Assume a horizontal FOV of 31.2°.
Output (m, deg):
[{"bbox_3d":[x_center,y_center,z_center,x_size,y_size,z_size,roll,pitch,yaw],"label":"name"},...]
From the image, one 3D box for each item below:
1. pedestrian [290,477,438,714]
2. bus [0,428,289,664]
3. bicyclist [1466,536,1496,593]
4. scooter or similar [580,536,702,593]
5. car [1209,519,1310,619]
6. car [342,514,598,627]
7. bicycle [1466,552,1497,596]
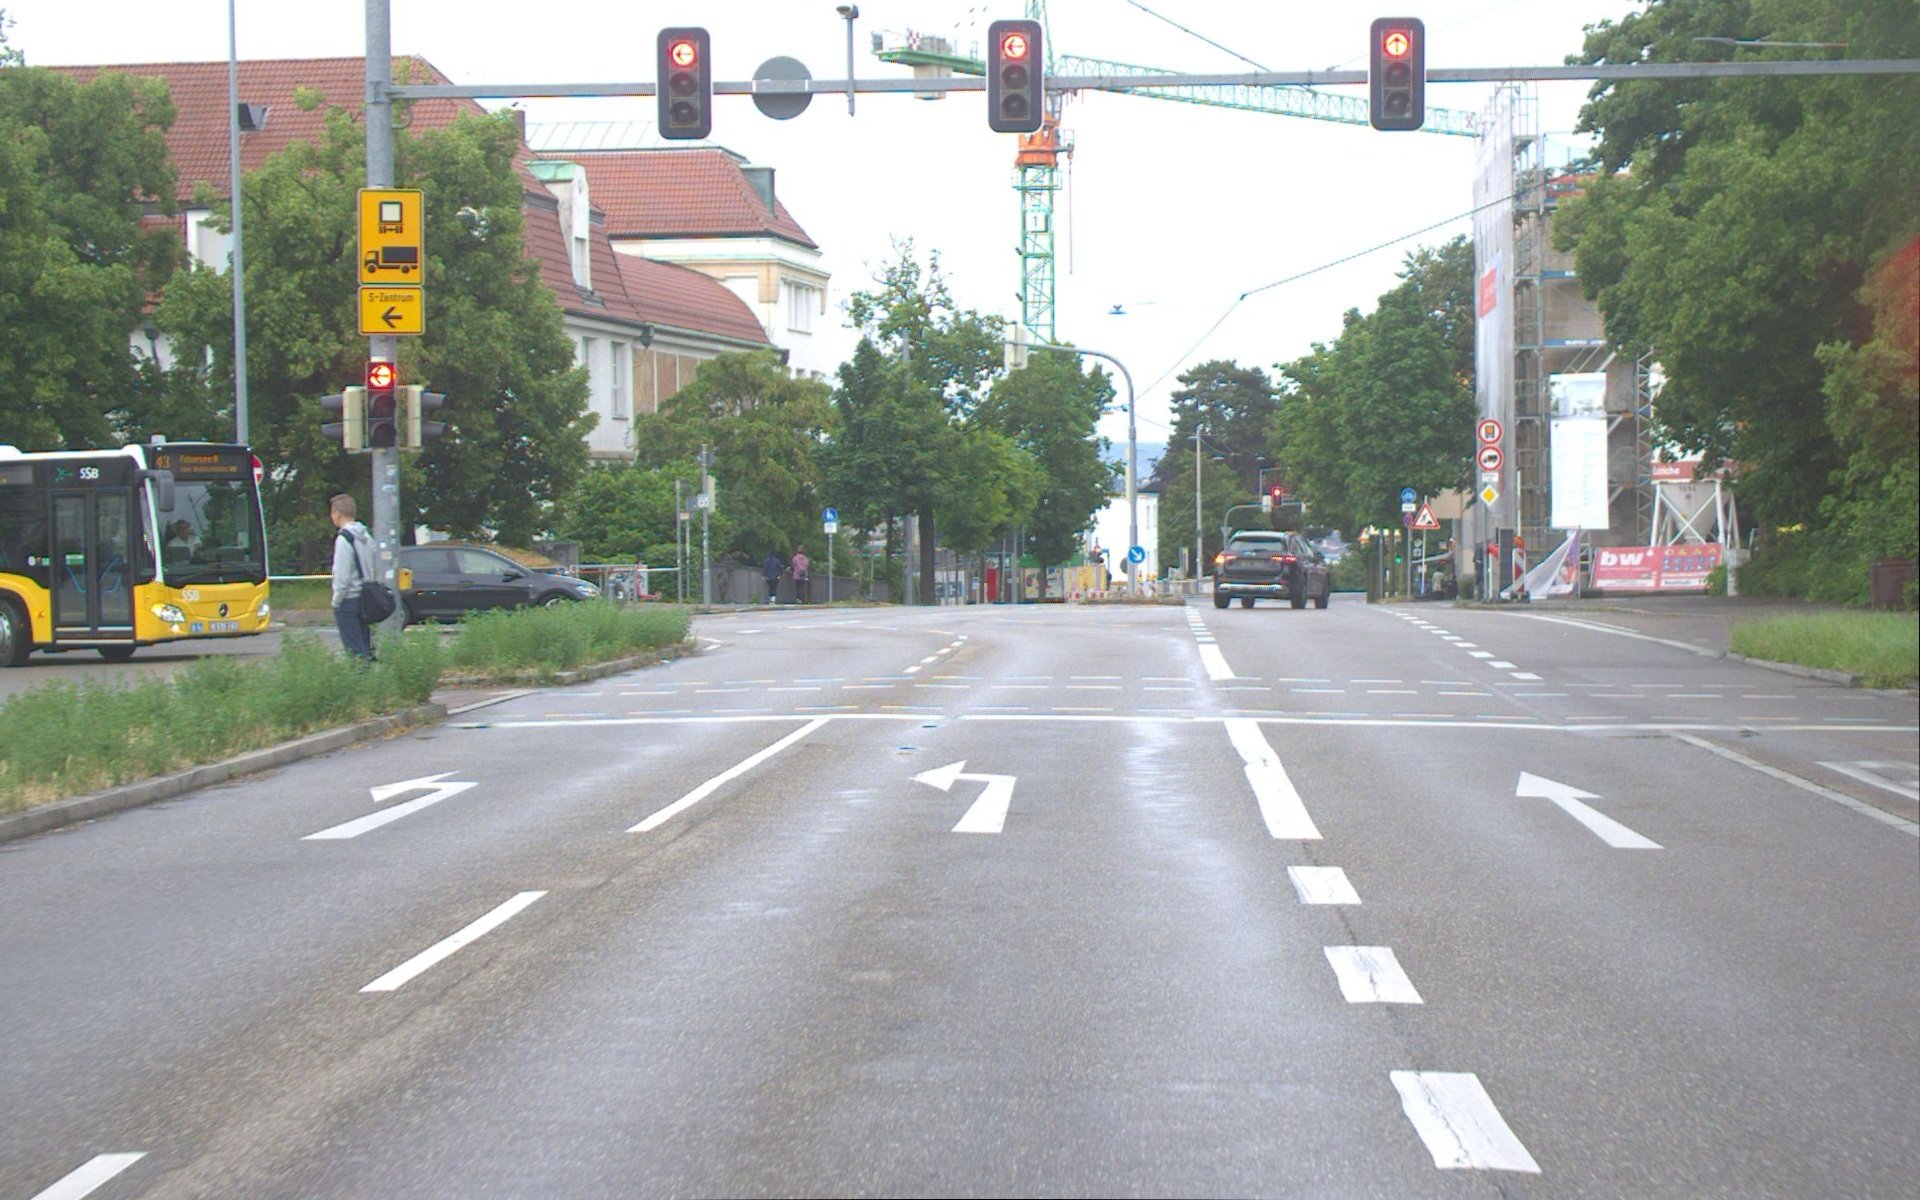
[{"bbox_3d":[-5.248,-0.045,30.317,0.940,2.007,0.847,-3,1,9],"label":"pedestrian"},{"bbox_3d":[-14.374,-0.718,48.620,9.738,3.092,2.894,0,1,26],"label":"bus"},{"bbox_3d":[14.457,-0.982,95.323,0.720,1.558,1.142,1,0,5],"label":"bicyclist"},{"bbox_3d":[-8.386,-0.933,90.549,3.088,1.435,0.949,-1,1,2],"label":"scooter or similar"},{"bbox_3d":[6.341,-0.622,73.161,1.944,2.014,4.550,1,-1,3],"label":"car"},{"bbox_3d":[-7.942,-0.461,55.570,3.986,1.700,2.000,1,-1,-10],"label":"car"},{"bbox_3d":[14.458,-0.719,95.342,0.720,1.189,1.755,1,0,5],"label":"bicycle"}]
